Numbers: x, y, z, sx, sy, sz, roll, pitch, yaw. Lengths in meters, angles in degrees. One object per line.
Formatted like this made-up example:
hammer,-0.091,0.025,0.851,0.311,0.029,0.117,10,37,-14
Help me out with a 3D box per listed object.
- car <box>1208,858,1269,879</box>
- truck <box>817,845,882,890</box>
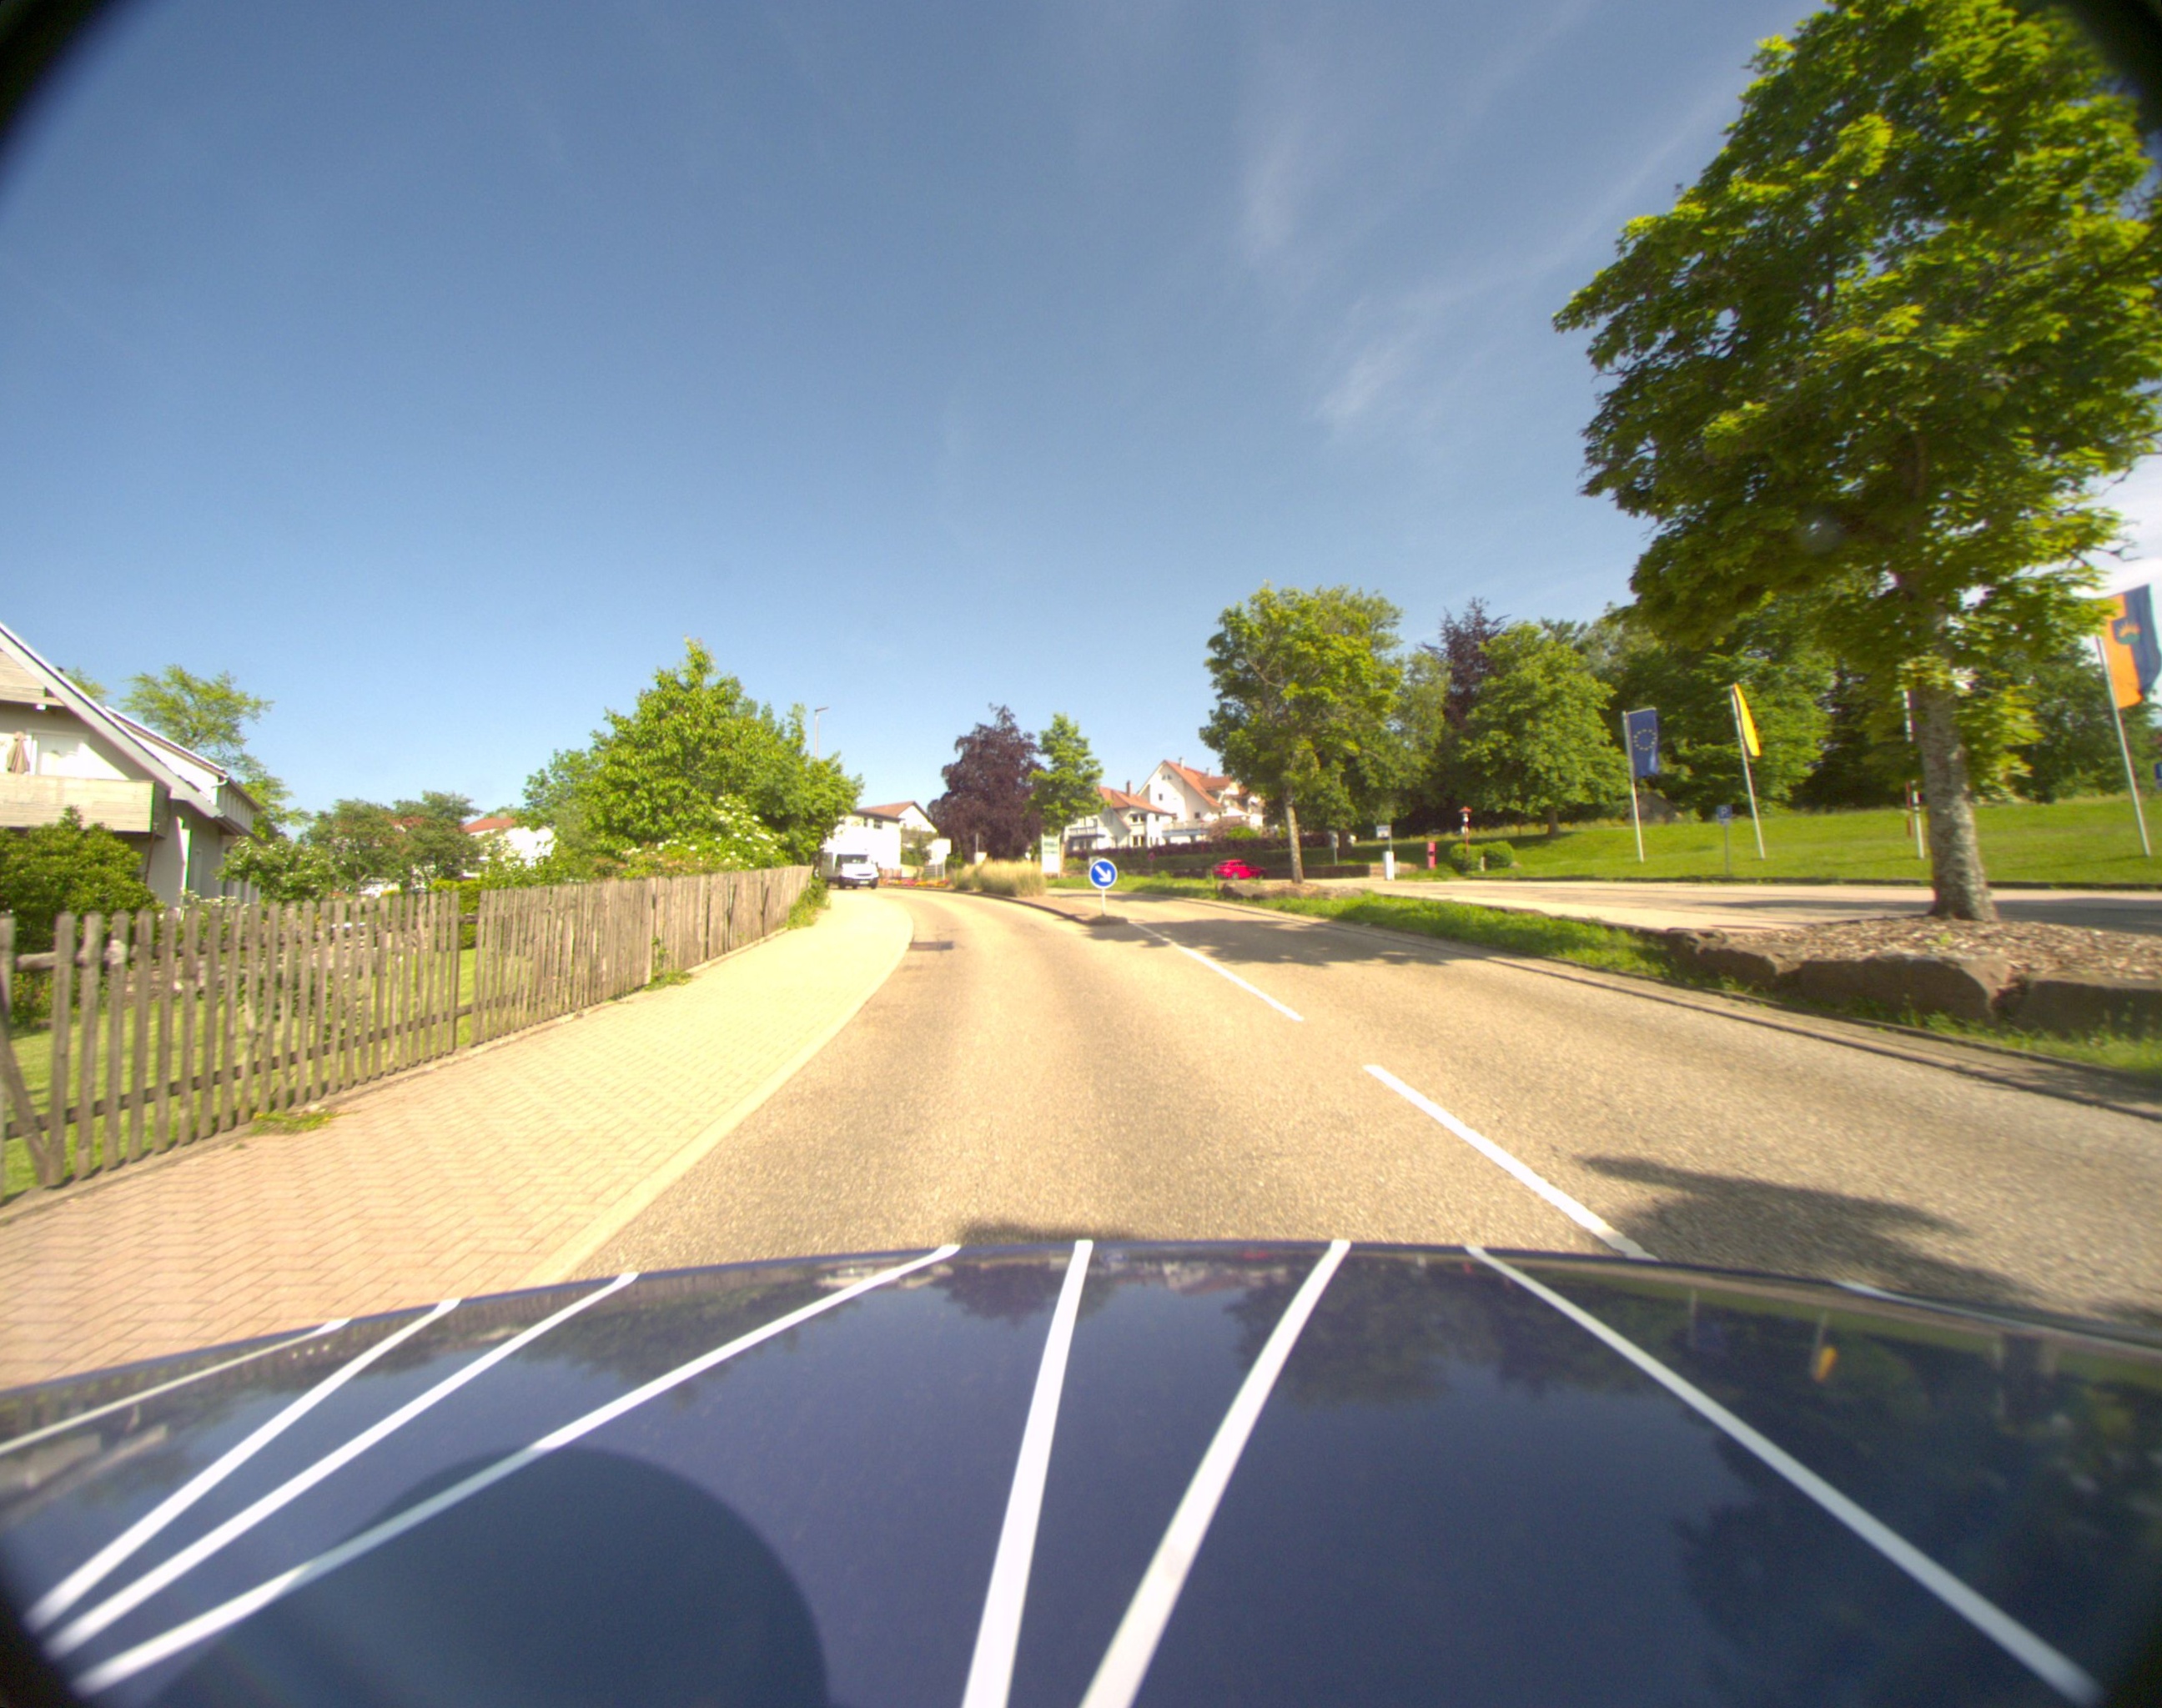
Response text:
car,11.427,1.057,54.913,4.246,1.390,1.819,-1,-1,-33
truck,-13.755,0.847,44.885,2.003,2.327,6.481,-4,-1,-31
